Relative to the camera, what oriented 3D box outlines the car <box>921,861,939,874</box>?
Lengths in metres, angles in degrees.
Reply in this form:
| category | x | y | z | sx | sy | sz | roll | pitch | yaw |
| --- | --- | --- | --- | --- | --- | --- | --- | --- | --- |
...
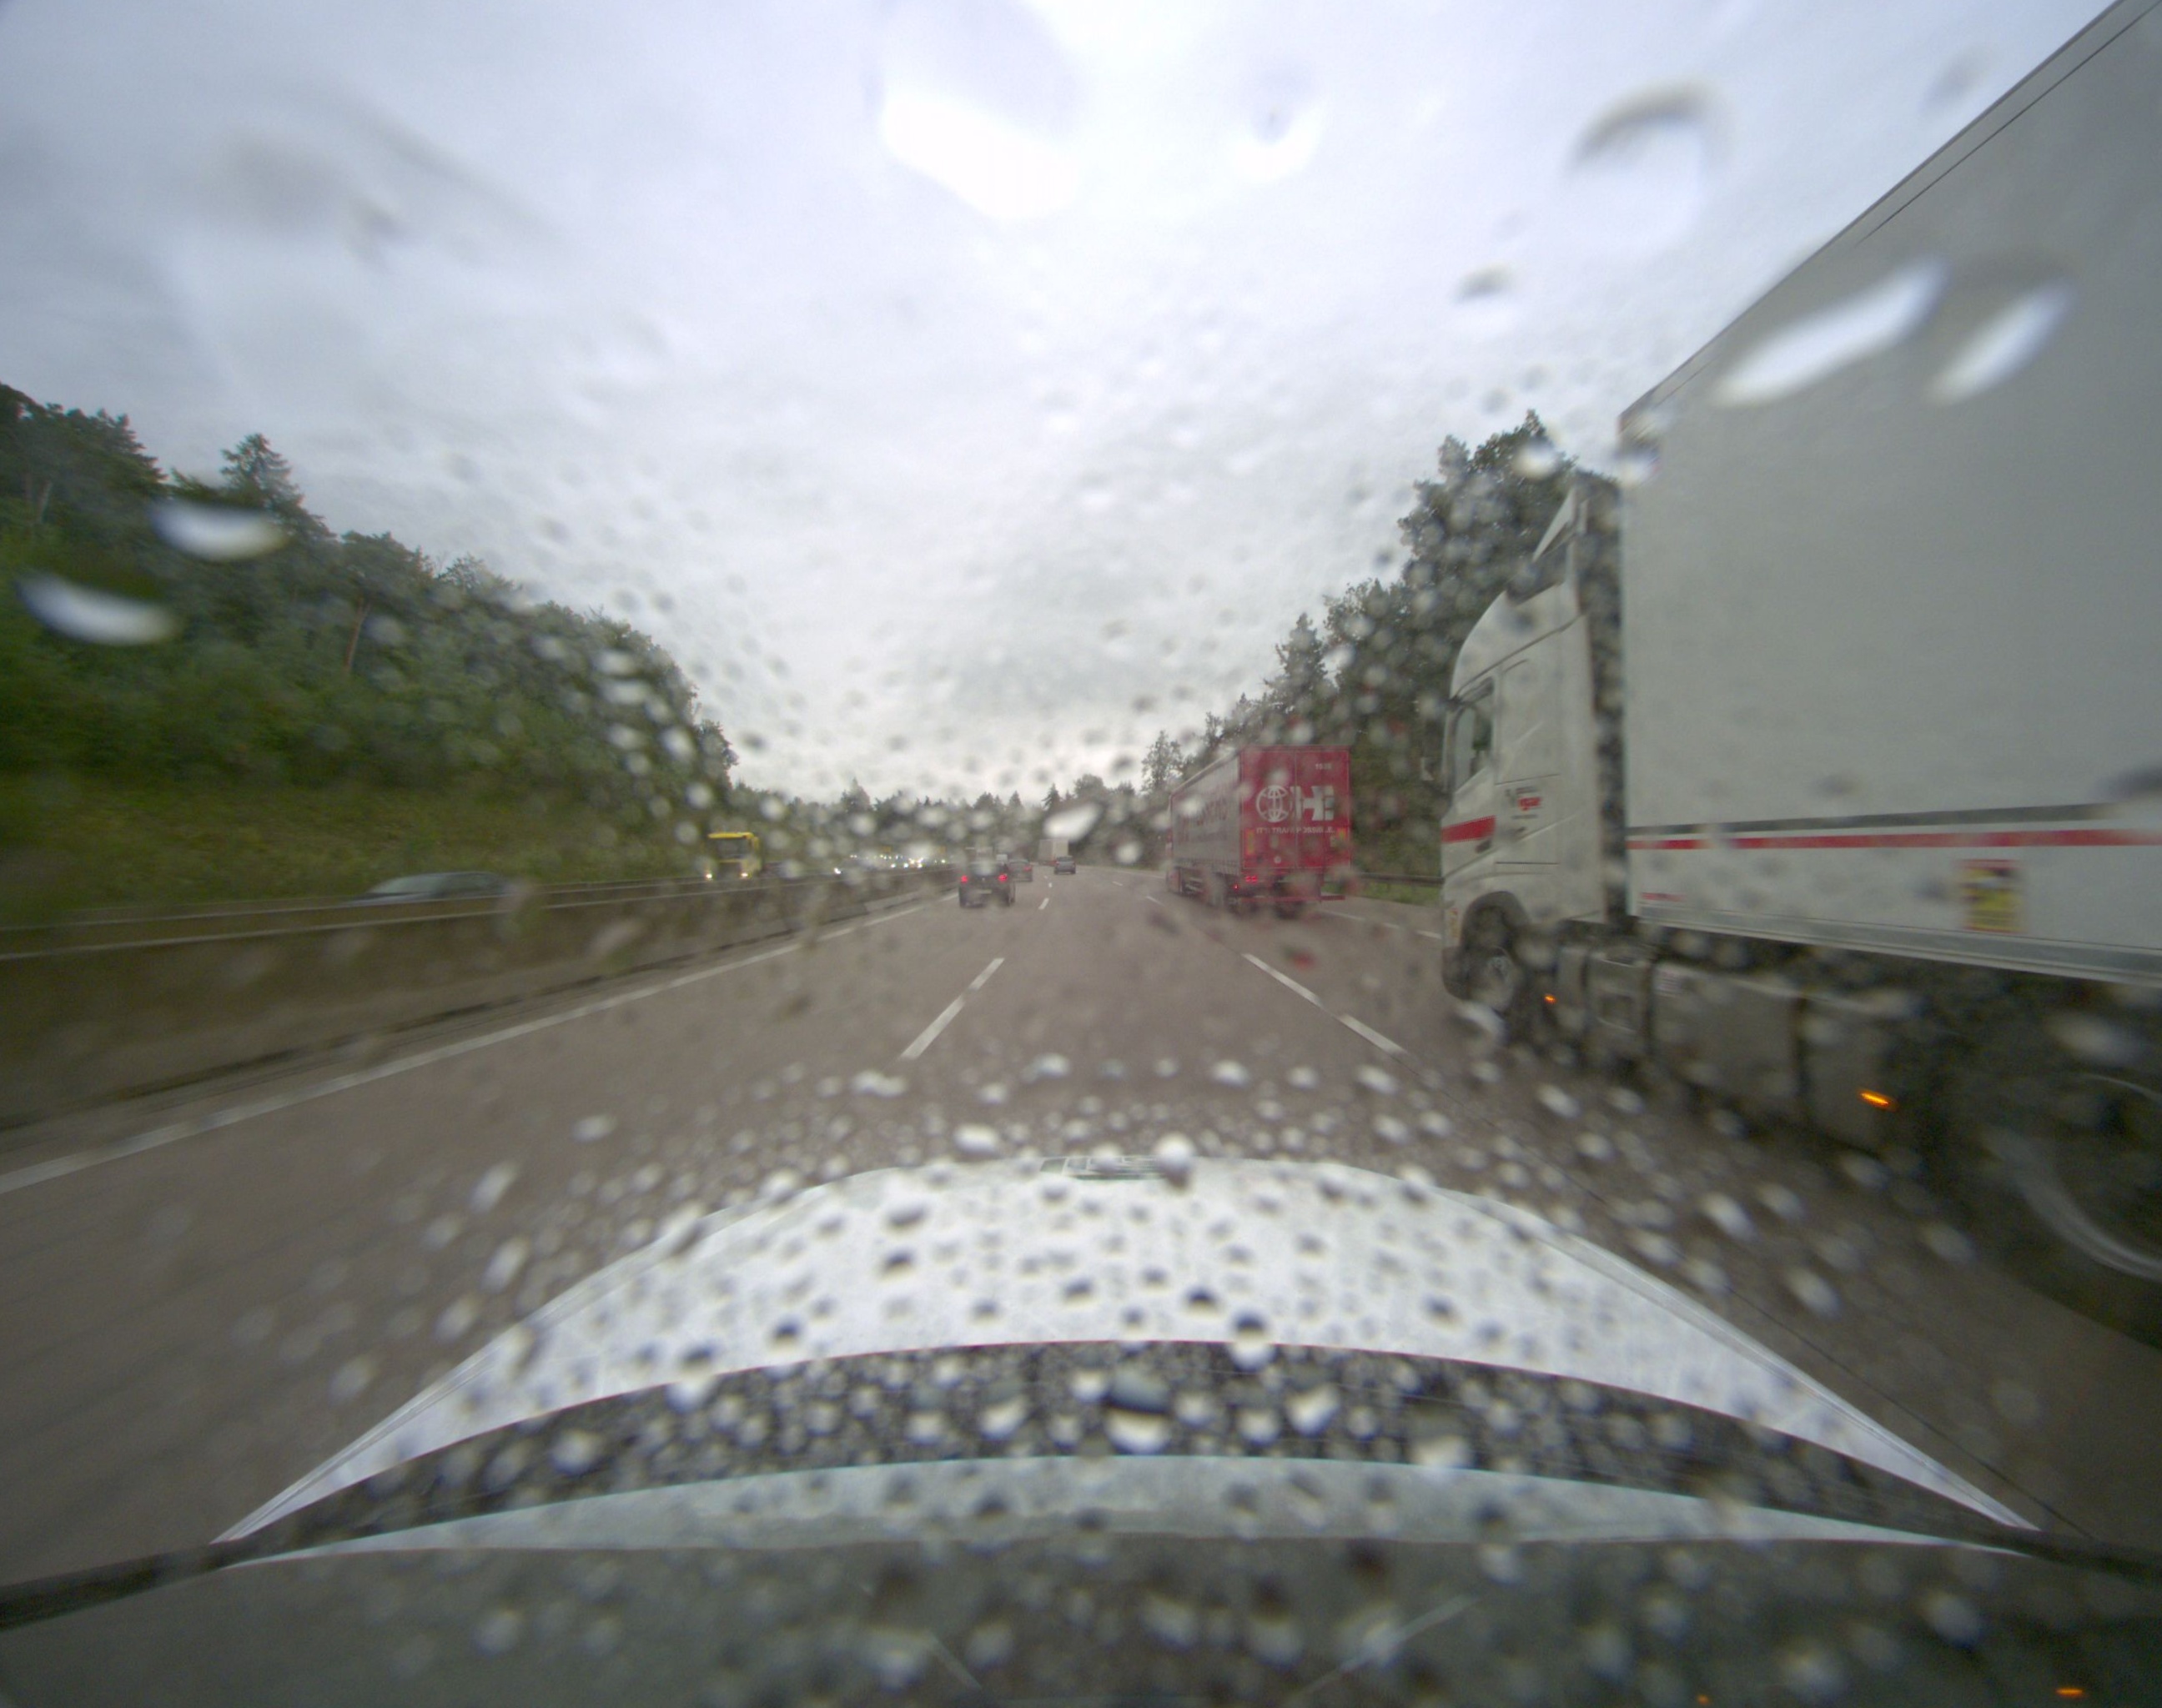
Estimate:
| category | x | y | z | sx | sy | sz | roll | pitch | yaw |
| --- | --- | --- | --- | --- | --- | --- | --- | --- | --- |
| car | -16.343 | 1.417 | 88.075 | 1.652 | 1.346 | 4.076 | -1 | 0 | -7 |

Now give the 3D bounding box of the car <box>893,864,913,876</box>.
| category | x | y | z | sx | sy | sz | roll | pitch | yaw |
| --- | --- | --- | --- | --- | --- | --- | --- | --- | --- |
| car | -20.494 | 1.841 | 93.804 | 1.650 | 1.346 | 4.079 | -1 | 0 | -5 |

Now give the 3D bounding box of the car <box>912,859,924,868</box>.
| category | x | y | z | sx | sy | sz | roll | pitch | yaw |
| --- | --- | --- | --- | --- | --- | --- | --- | --- | --- |
| car | -27.722 | 1.546 | 138.504 | 1.572 | 1.487 | 4.273 | -1 | 0 | -7 |

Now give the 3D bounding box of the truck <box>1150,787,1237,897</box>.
| category | x | y | z | sx | sy | sz | roll | pitch | yaw |
| --- | --- | --- | --- | --- | --- | --- | --- | --- | --- |
| truck | 4.347 | -0.418 | 32.676 | 2.369 | 3.954 | 6.155 | -1 | 0 | -2 |

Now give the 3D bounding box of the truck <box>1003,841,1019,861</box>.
| category | x | y | z | sx | sy | sz | roll | pitch | yaw |
| --- | --- | --- | --- | --- | --- | --- | --- | --- | --- |
| truck | -15.294 | -0.664 | 178.466 | 3.364 | 4.131 | 10.418 | 0 | 0 | -5 |

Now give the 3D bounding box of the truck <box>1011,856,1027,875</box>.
| category | x | y | z | sx | sy | sz | roll | pitch | yaw |
| --- | --- | --- | --- | --- | --- | --- | --- | --- | --- |
| truck | -10.423 | 1.950 | 136.953 | 2.267 | 2.886 | 7.884 | 0 | 1 | -7 |

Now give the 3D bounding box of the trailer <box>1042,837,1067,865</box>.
| category | x | y | z | sx | sy | sz | roll | pitch | yaw |
| --- | --- | --- | --- | --- | --- | --- | --- | --- | --- |
| trailer | -4.139 | -0.450 | 125.598 | 2.419 | 4.068 | 12.020 | 0 | 0 | -8 |

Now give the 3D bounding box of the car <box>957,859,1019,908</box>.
| category | x | y | z | sx | sy | sz | roll | pitch | yaw |
| --- | --- | --- | --- | --- | --- | --- | --- | --- | --- |
| car | -3.039 | 0.940 | 27.192 | 1.679 | 1.462 | 3.681 | 1 | 0 | -1 |

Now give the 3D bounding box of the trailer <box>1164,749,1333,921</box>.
| category | x | y | z | sx | sy | sz | roll | pitch | yaw |
| --- | --- | --- | --- | --- | --- | --- | --- | --- | --- |
| trailer | 4.513 | -0.420 | 25.083 | 2.364 | 3.954 | 12.513 | -1 | 0 | -1 |

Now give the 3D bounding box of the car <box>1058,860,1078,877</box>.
| category | x | y | z | sx | sy | sz | roll | pitch | yaw |
| --- | --- | --- | --- | --- | --- | --- | --- | --- | --- |
| car | -1.097 | 1.270 | 71.201 | 1.548 | 1.351 | 3.685 | 1 | 0 | 2 |

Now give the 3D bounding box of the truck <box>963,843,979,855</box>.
| category | x | y | z | sx | sy | sz | roll | pitch | yaw |
| --- | --- | --- | --- | --- | --- | --- | --- | --- | --- |
| truck | -26.343 | -1.218 | 194.811 | 3.085 | 2.905 | 7.871 | 0 | 1 | -12 |

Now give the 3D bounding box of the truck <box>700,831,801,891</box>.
| category | x | y | z | sx | sy | sz | roll | pitch | yaw |
| --- | --- | --- | --- | --- | --- | --- | --- | --- | --- |
| truck | -20.286 | 0.402 | 50.660 | 2.615 | 3.296 | 9.375 | -1 | 0 | -2 |

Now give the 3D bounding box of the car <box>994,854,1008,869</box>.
| category | x | y | z | sx | sy | sz | roll | pitch | yaw |
| --- | --- | --- | --- | --- | --- | --- | --- | --- | --- |
| car | -11.289 | 1.076 | 114.756 | 1.725 | 2.013 | 3.644 | -1 | 0 | -10 |

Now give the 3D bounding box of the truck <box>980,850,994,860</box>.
| category | x | y | z | sx | sy | sz | roll | pitch | yaw |
| --- | --- | --- | --- | --- | --- | --- | --- | --- | --- |
| truck | -24.133 | 0.212 | 209.244 | 2.975 | 2.309 | 6.644 | 1 | 0 | -10 |

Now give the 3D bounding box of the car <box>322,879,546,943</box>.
| category | x | y | z | sx | sy | sz | roll | pitch | yaw |
| --- | --- | --- | --- | --- | --- | --- | --- | --- | --- |
| car | -15.106 | 1.274 | 19.402 | 1.648 | 1.198 | 4.545 | -1 | 0 | 1 |

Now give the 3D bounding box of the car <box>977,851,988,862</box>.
| category | x | y | z | sx | sy | sz | roll | pitch | yaw |
| --- | --- | --- | --- | --- | --- | --- | --- | --- | --- |
| car | -19.322 | 0.404 | 159.079 | 1.993 | 2.059 | 3.987 | -1 | 0 | -9 |

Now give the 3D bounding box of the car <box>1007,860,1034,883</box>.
| category | x | y | z | sx | sy | sz | roll | pitch | yaw |
| --- | --- | --- | --- | --- | --- | --- | --- | --- | --- |
| car | -3.850 | 1.104 | 52.403 | 1.549 | 1.351 | 3.681 | 1 | 0 | -2 |

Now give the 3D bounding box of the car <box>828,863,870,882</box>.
| category | x | y | z | sx | sy | sz | roll | pitch | yaw |
| --- | --- | --- | --- | --- | --- | --- | --- | --- | --- |
| car | -17.207 | 1.342 | 60.578 | 1.800 | 1.346 | 4.764 | -1 | 0 | -1 |

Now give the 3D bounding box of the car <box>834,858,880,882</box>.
| category | x | y | z | sx | sy | sz | roll | pitch | yaw |
| --- | --- | --- | --- | --- | --- | --- | --- | --- | --- |
| car | -13.097 | 0.929 | 47.877 | 1.648 | 1.346 | 4.084 | -1 | 0 | -1 |

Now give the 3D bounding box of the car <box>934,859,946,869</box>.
| category | x | y | z | sx | sy | sz | roll | pitch | yaw |
| --- | --- | --- | --- | --- | --- | --- | --- | --- | --- |
| car | -23.812 | 1.729 | 137.677 | 1.863 | 1.548 | 3.990 | -1 | 0 | -7 |

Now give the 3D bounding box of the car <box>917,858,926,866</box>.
| category | x | y | z | sx | sy | sz | roll | pitch | yaw |
| --- | --- | --- | --- | --- | --- | --- | --- | --- | --- |
| car | -35.861 | 1.874 | 183.345 | 1.809 | 1.684 | 3.985 | -1 | 0 | -11 |

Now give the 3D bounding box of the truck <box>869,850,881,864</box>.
| category | x | y | z | sx | sy | sz | roll | pitch | yaw |
| --- | --- | --- | --- | --- | --- | --- | --- | --- | --- |
| truck | -57.767 | 0.783 | 228.519 | 2.928 | 3.960 | 8.087 | -1 | 0 | -11 |

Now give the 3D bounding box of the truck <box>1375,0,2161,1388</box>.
| category | x | y | z | sx | sy | sz | roll | pitch | yaw |
| --- | --- | --- | --- | --- | --- | --- | --- | --- | --- |
| truck | 4.310 | -0.630 | 5.180 | 2.788 | 4.104 | 5.969 | -1 | 0 | 1 |
